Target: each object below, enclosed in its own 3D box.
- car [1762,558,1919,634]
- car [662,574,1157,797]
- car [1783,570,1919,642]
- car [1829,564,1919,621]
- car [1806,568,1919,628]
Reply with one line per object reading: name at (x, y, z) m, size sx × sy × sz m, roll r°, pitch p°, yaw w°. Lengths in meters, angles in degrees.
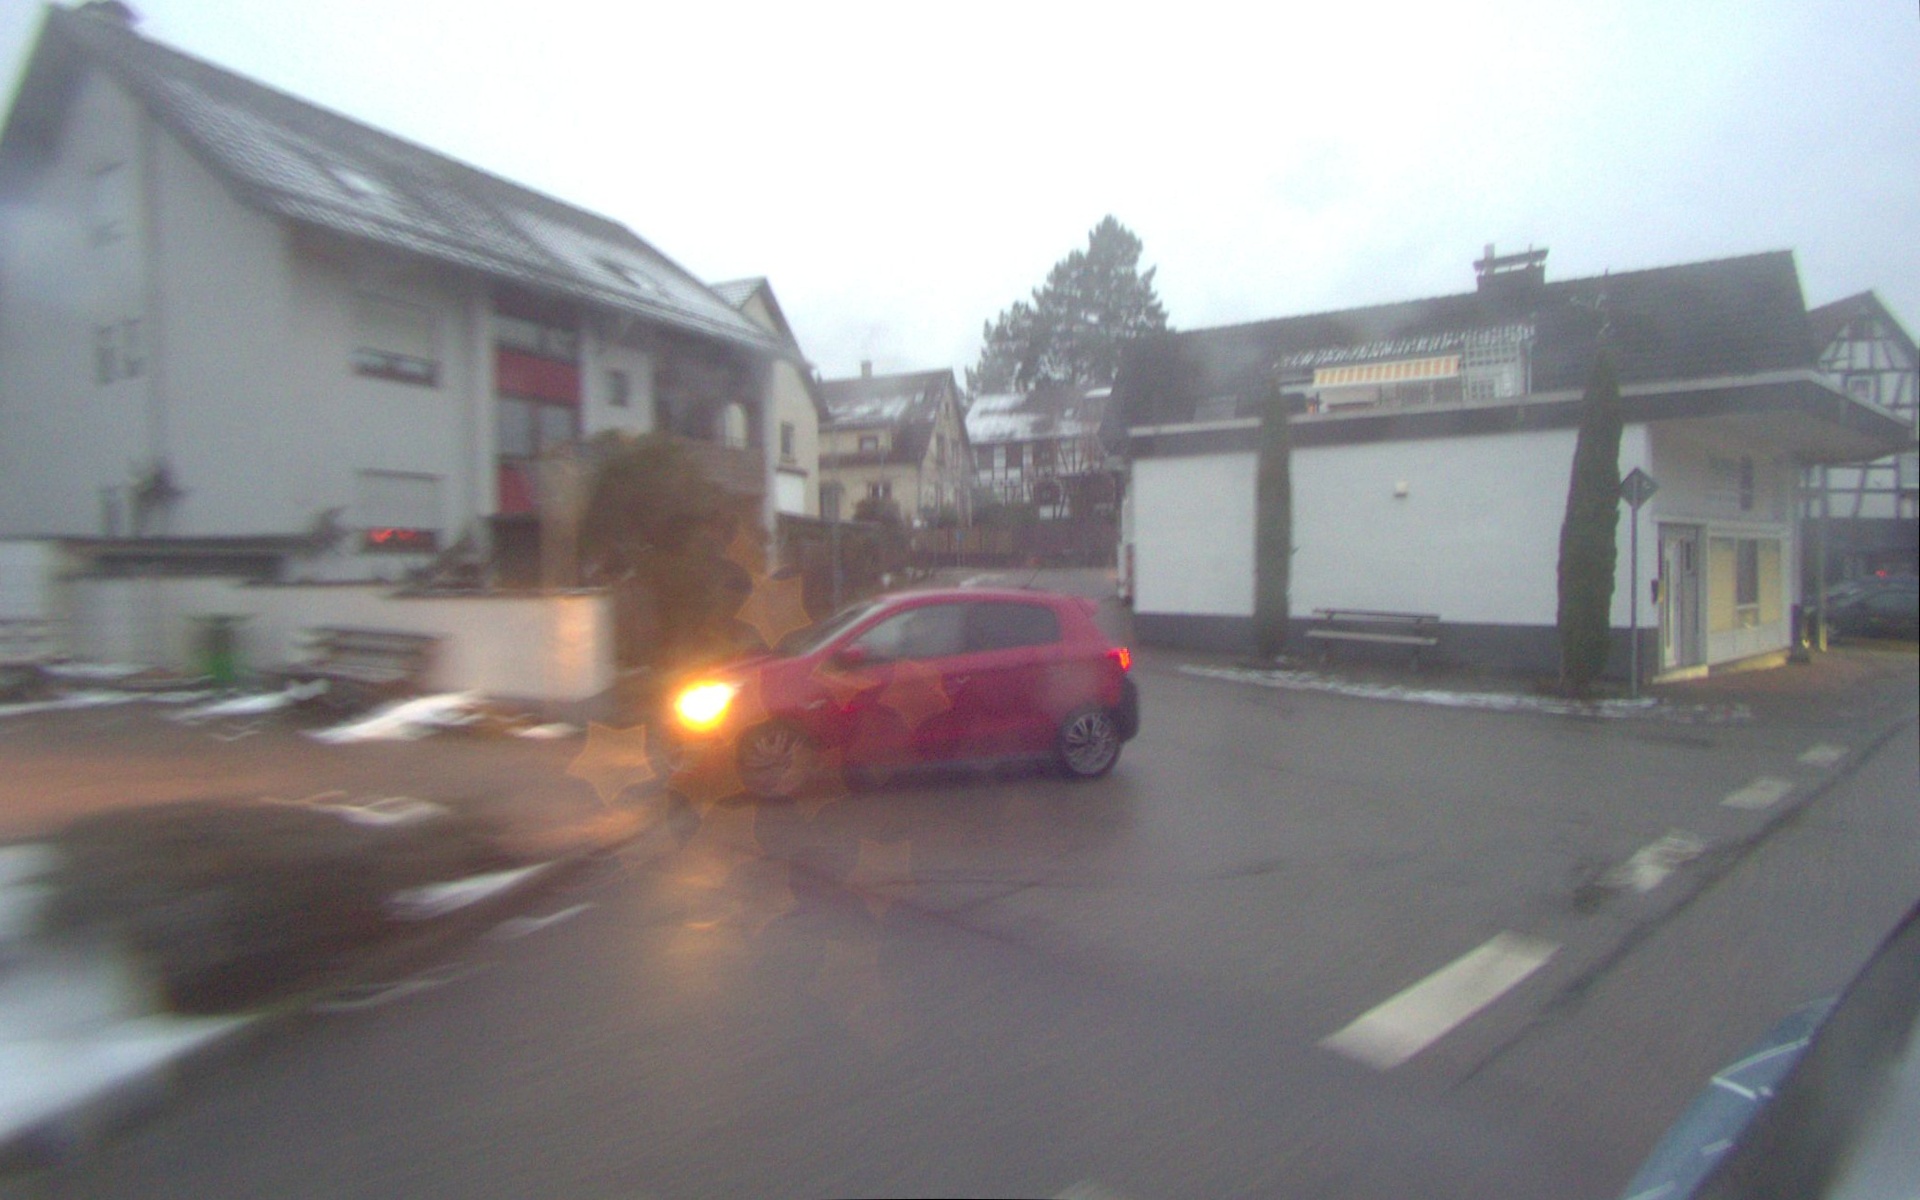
car at (24.430, -0.091, 26.927) m, size 4.439 × 1.680 × 1.838 m, roll 6°, pitch 6°, yaw 29°
car at (-0.451, 0.559, 7.991) m, size 3.620 × 1.484 × 1.554 m, roll 0°, pitch 1°, yaw -17°
car at (22.982, 0.180, 24.893) m, size 3.863 × 1.466 × 1.870 m, roll 6°, pitch 6°, yaw 30°
car at (29.519, -0.163, 30.998) m, size 3.941 × 1.533 × 1.586 m, roll 5°, pitch 6°, yaw 23°
car at (26.930, -0.020, 28.772) m, size 4.006 × 1.437 × 1.797 m, roll 6°, pitch 6°, yaw 30°
